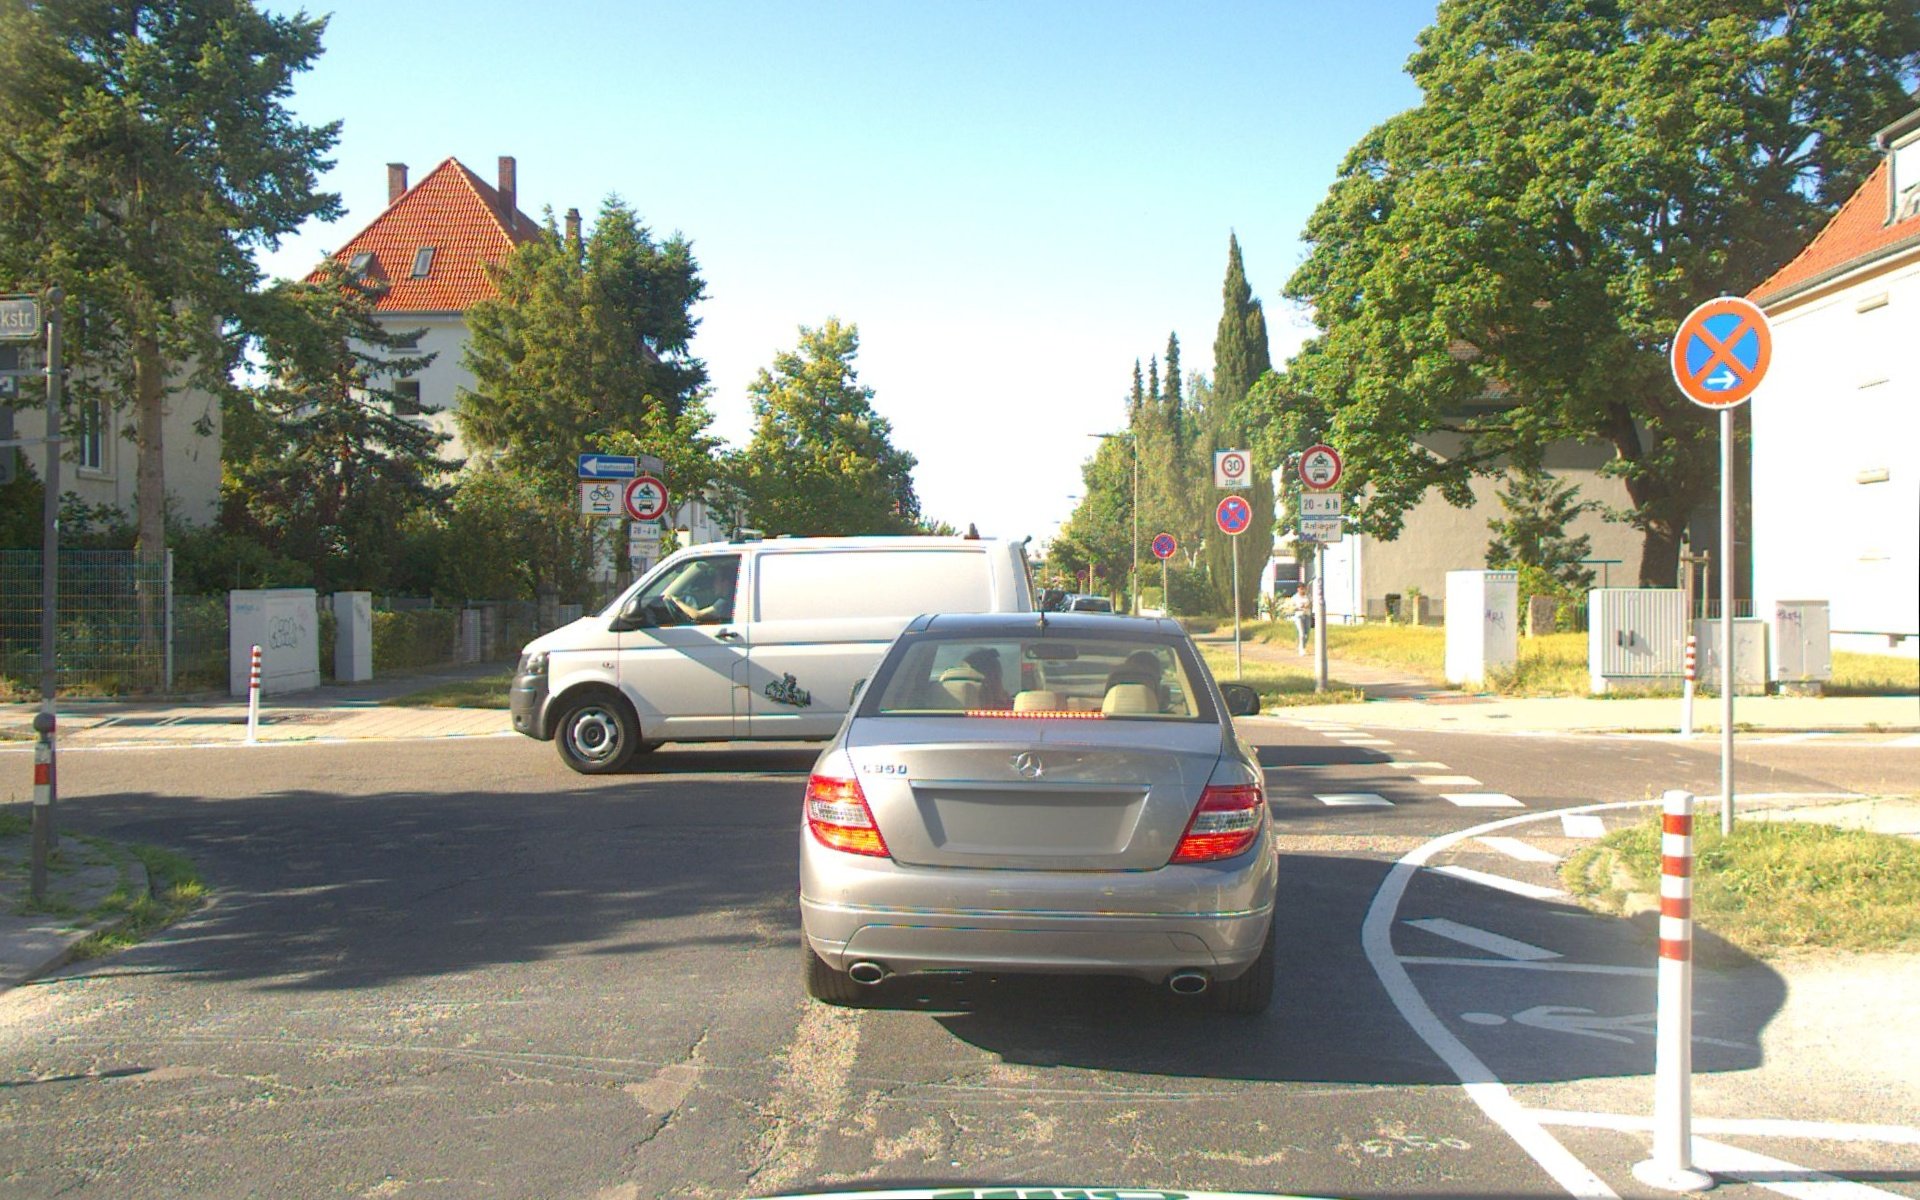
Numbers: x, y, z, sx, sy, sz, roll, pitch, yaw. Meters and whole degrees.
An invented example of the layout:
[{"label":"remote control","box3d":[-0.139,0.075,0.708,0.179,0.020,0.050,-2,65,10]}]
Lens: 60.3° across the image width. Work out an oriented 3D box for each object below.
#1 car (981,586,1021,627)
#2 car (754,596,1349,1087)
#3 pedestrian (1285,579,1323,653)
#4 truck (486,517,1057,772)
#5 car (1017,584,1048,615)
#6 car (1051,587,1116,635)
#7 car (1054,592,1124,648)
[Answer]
[{"label":"car","box3d":[1.705,0.245,69.139,1.564,1.638,3.644,-1,0,0]},{"label":"car","box3d":[0.377,0.723,7.024,1.798,1.466,4.002,0,0,3]},{"label":"pedestrian","box3d":[7.818,0.358,37.646,0.750,1.639,0.835,-1,0,7]},{"label":"truck","box3d":[-1.546,0.369,14.808,4.757,2.071,2.001,-1,0,2]},{"label":"car","box3d":[4.515,-0.037,103.331,1.816,1.873,4.001,-1,0,1]},{"label":"car","box3d":[4.316,0.362,58.361,1.953,1.638,4.000,-1,0,0]},{"label":"car","box3d":[3.678,0.550,47.632,1.698,1.505,3.725,-1,0,0]}]
